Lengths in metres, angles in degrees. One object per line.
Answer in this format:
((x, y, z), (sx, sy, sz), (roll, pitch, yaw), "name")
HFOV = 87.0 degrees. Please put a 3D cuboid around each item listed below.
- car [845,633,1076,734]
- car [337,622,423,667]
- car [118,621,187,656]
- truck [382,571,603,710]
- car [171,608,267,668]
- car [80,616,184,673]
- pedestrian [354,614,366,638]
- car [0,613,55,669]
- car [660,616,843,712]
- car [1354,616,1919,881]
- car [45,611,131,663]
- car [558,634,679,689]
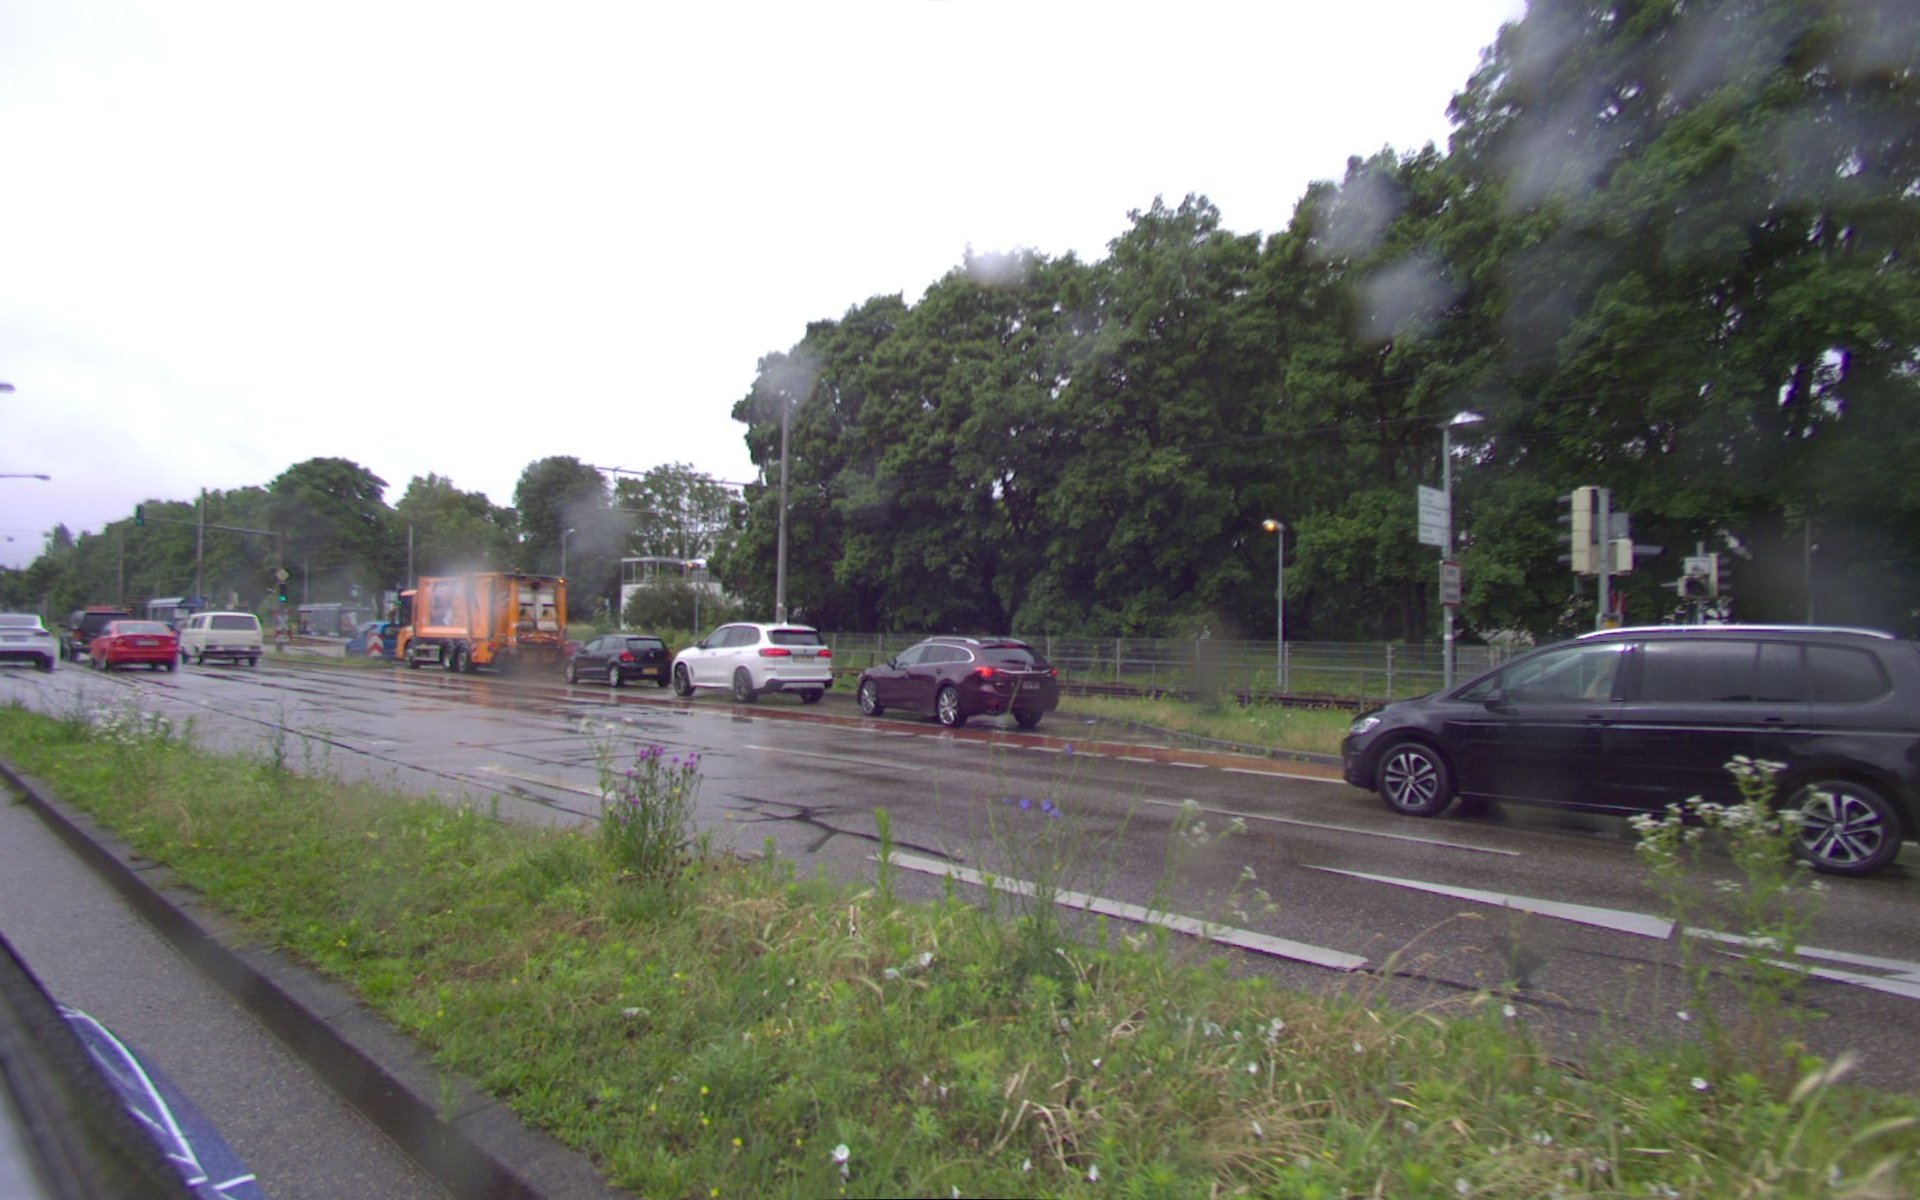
((-0.138, 1.361, 17.827), (1.847, 1.497, 4.518), (2, -2, -34), "car")
((-24.556, 1.832, 42.778), (4.528, 1.722, 1.971), (0, 0, 44), "car")
((-35.463, 1.677, 44.426), (3.998, 1.438, 1.624), (0, -4, 41), "car")
((-16.614, 1.234, 35.405), (10.407, 4.199, 3.348), (0, 0, 43), "truck")
((-27.237, 1.382, 37.133), (4.743, 2.033, 1.908), (-1, -4, 43), "car")
((-25.410, 1.344, 31.015), (4.428, 1.581, 1.781), (0, -3, 42), "car")
((-46.128, 1.977, 77.839), (0.681, 1.806, 0.623), (0, 0, 43), "pedestrian")
((-29.506, 1.224, 31.194), (4.697, 1.629, 1.939), (-1, -3, 43), "car")
((-4.882, 1.342, 23.217), (1.969, 1.841, 4.778), (-2, 1, -42), "car")
((5.594, 0.995, 7.988), (1.687, 1.654, 4.333), (5, -4, -45), "car")
((-32.164, 1.363, 37.271), (5.089, 1.787, 1.786), (-1, -3, 43), "car")
((-9.562, 1.687, 28.243), (3.686, 1.389, 1.570), (-1, -4, 43), "car")
